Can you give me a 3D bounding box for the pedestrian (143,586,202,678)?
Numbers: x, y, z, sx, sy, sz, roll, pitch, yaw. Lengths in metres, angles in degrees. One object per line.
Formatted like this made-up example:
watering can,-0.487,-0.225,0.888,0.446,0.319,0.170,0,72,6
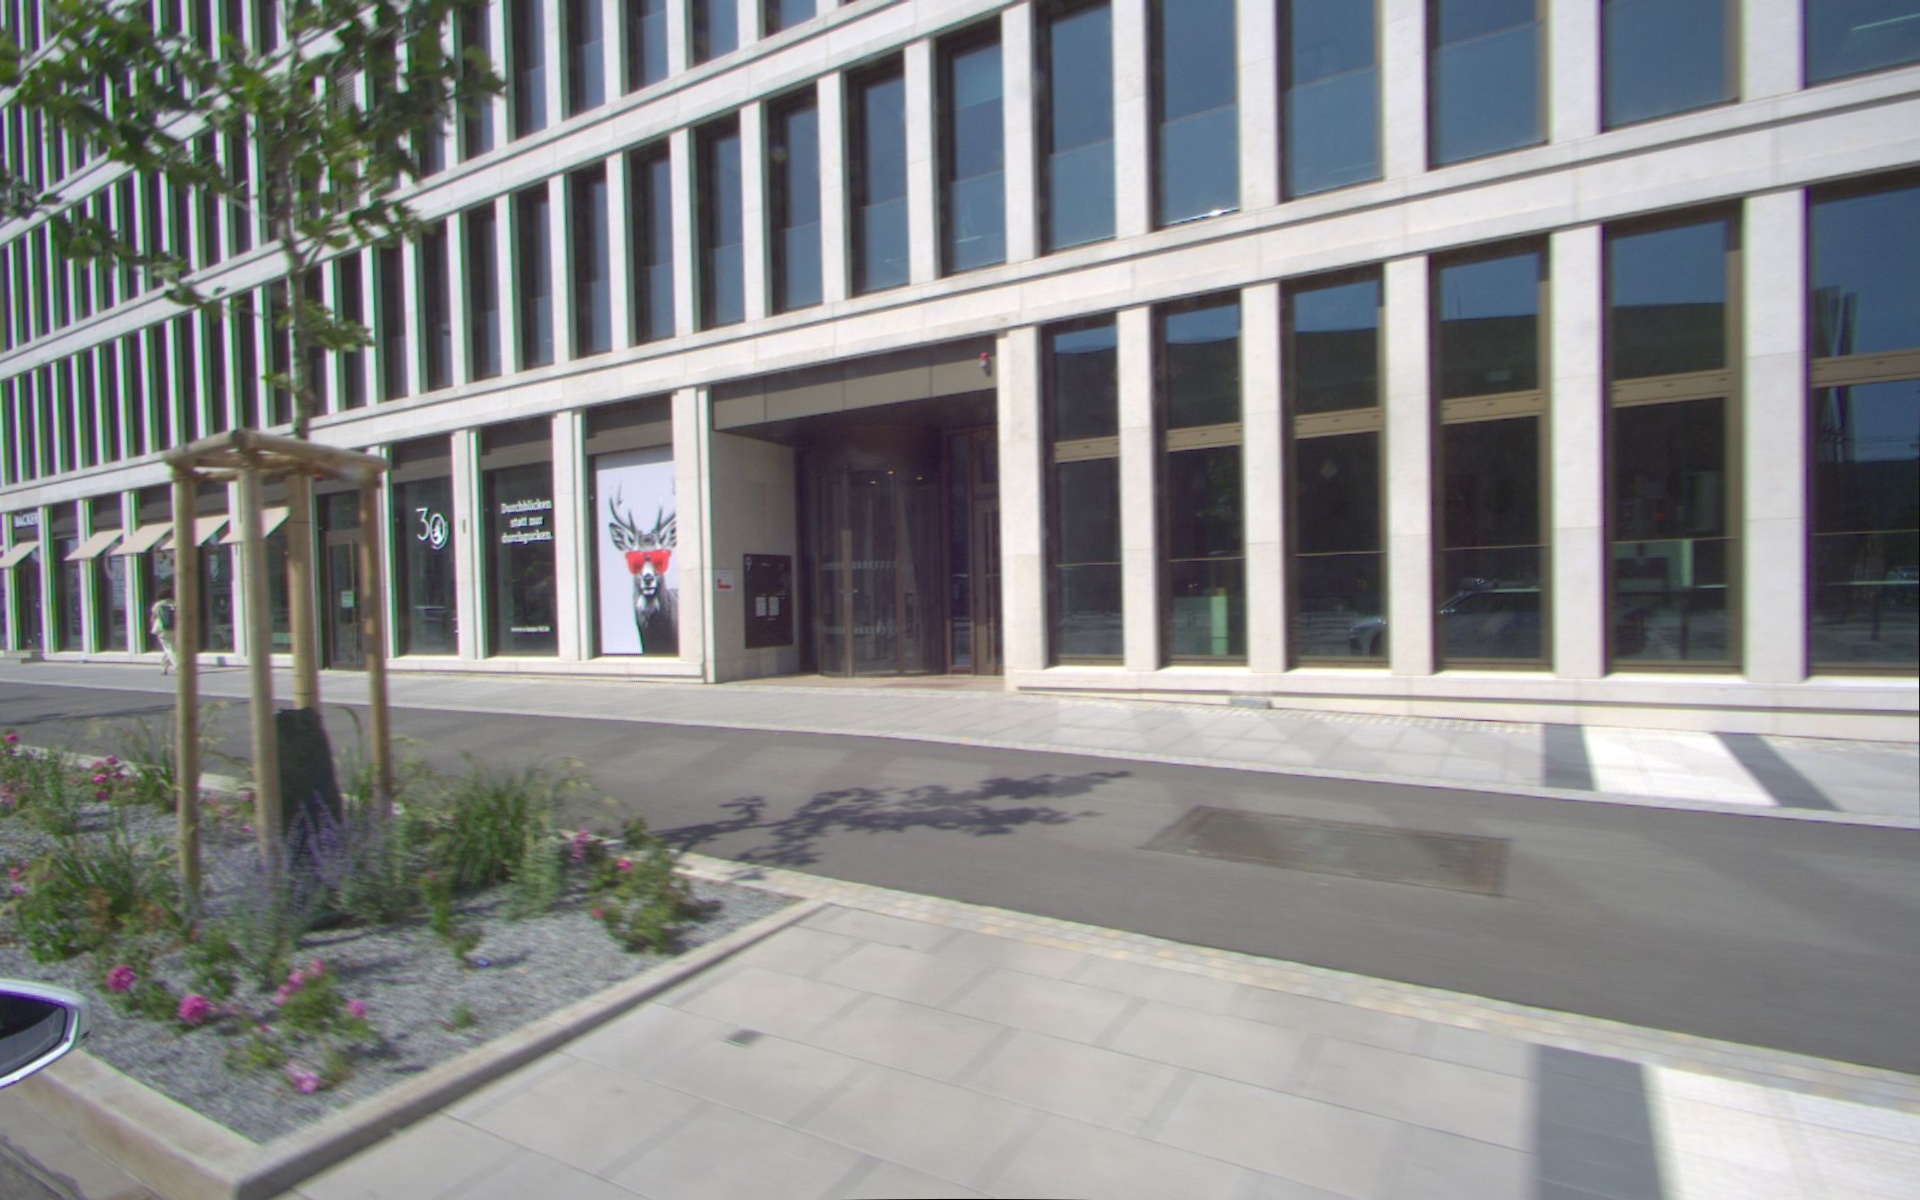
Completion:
pedestrian,-15.423,0.620,19.625,0.802,1.766,0.626,0,1,31
